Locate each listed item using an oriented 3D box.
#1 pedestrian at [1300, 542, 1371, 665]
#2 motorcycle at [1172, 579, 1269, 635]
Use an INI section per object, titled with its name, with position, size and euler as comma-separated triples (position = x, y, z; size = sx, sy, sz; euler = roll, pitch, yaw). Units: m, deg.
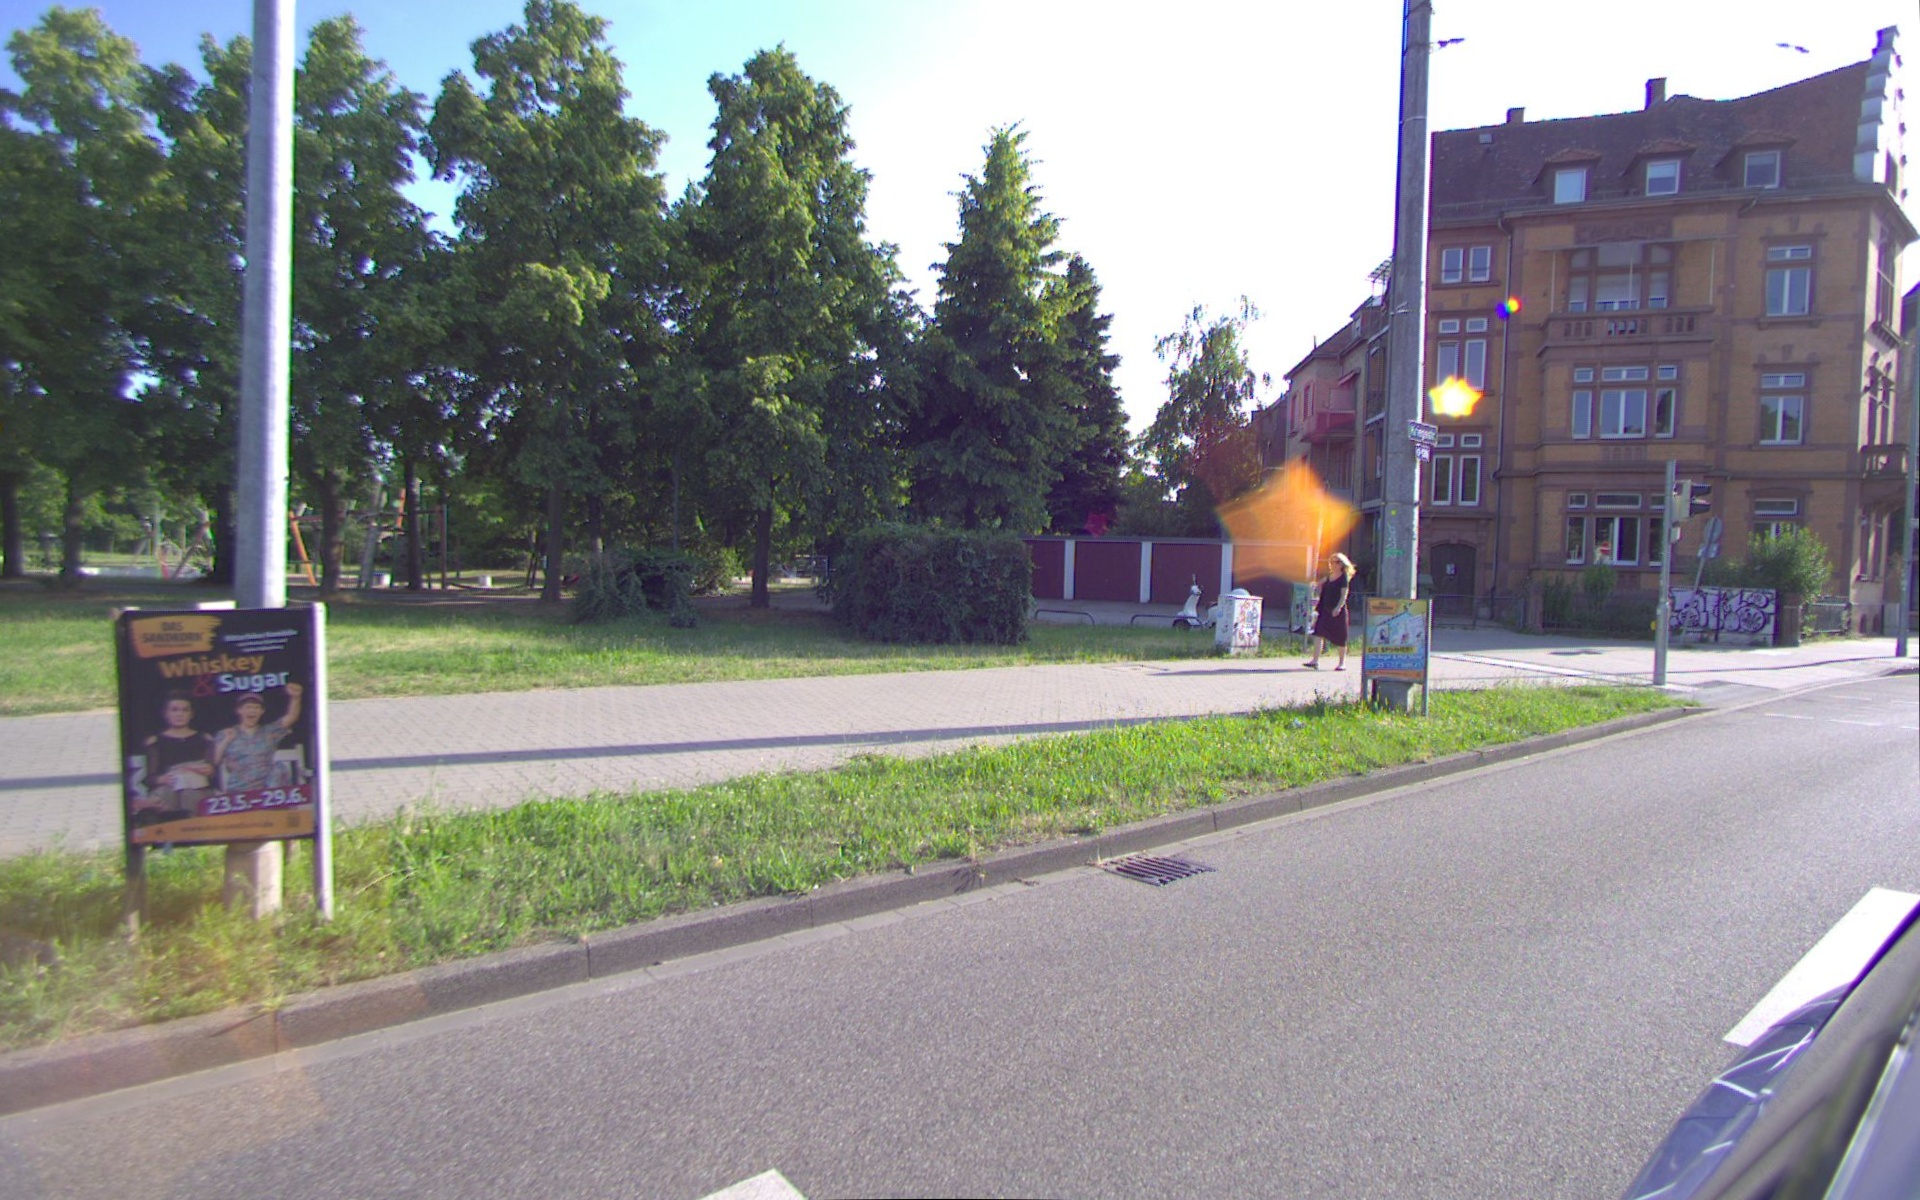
[pedestrian]
position = 5.511, 0.042, 14.860
size = 0.538, 1.711, 0.618
euler = 1, 6, -35
[motorcycle]
position = 5.789, 0.141, 22.584
size = 0.696, 1.174, 1.998
euler = 1, 1, -44
